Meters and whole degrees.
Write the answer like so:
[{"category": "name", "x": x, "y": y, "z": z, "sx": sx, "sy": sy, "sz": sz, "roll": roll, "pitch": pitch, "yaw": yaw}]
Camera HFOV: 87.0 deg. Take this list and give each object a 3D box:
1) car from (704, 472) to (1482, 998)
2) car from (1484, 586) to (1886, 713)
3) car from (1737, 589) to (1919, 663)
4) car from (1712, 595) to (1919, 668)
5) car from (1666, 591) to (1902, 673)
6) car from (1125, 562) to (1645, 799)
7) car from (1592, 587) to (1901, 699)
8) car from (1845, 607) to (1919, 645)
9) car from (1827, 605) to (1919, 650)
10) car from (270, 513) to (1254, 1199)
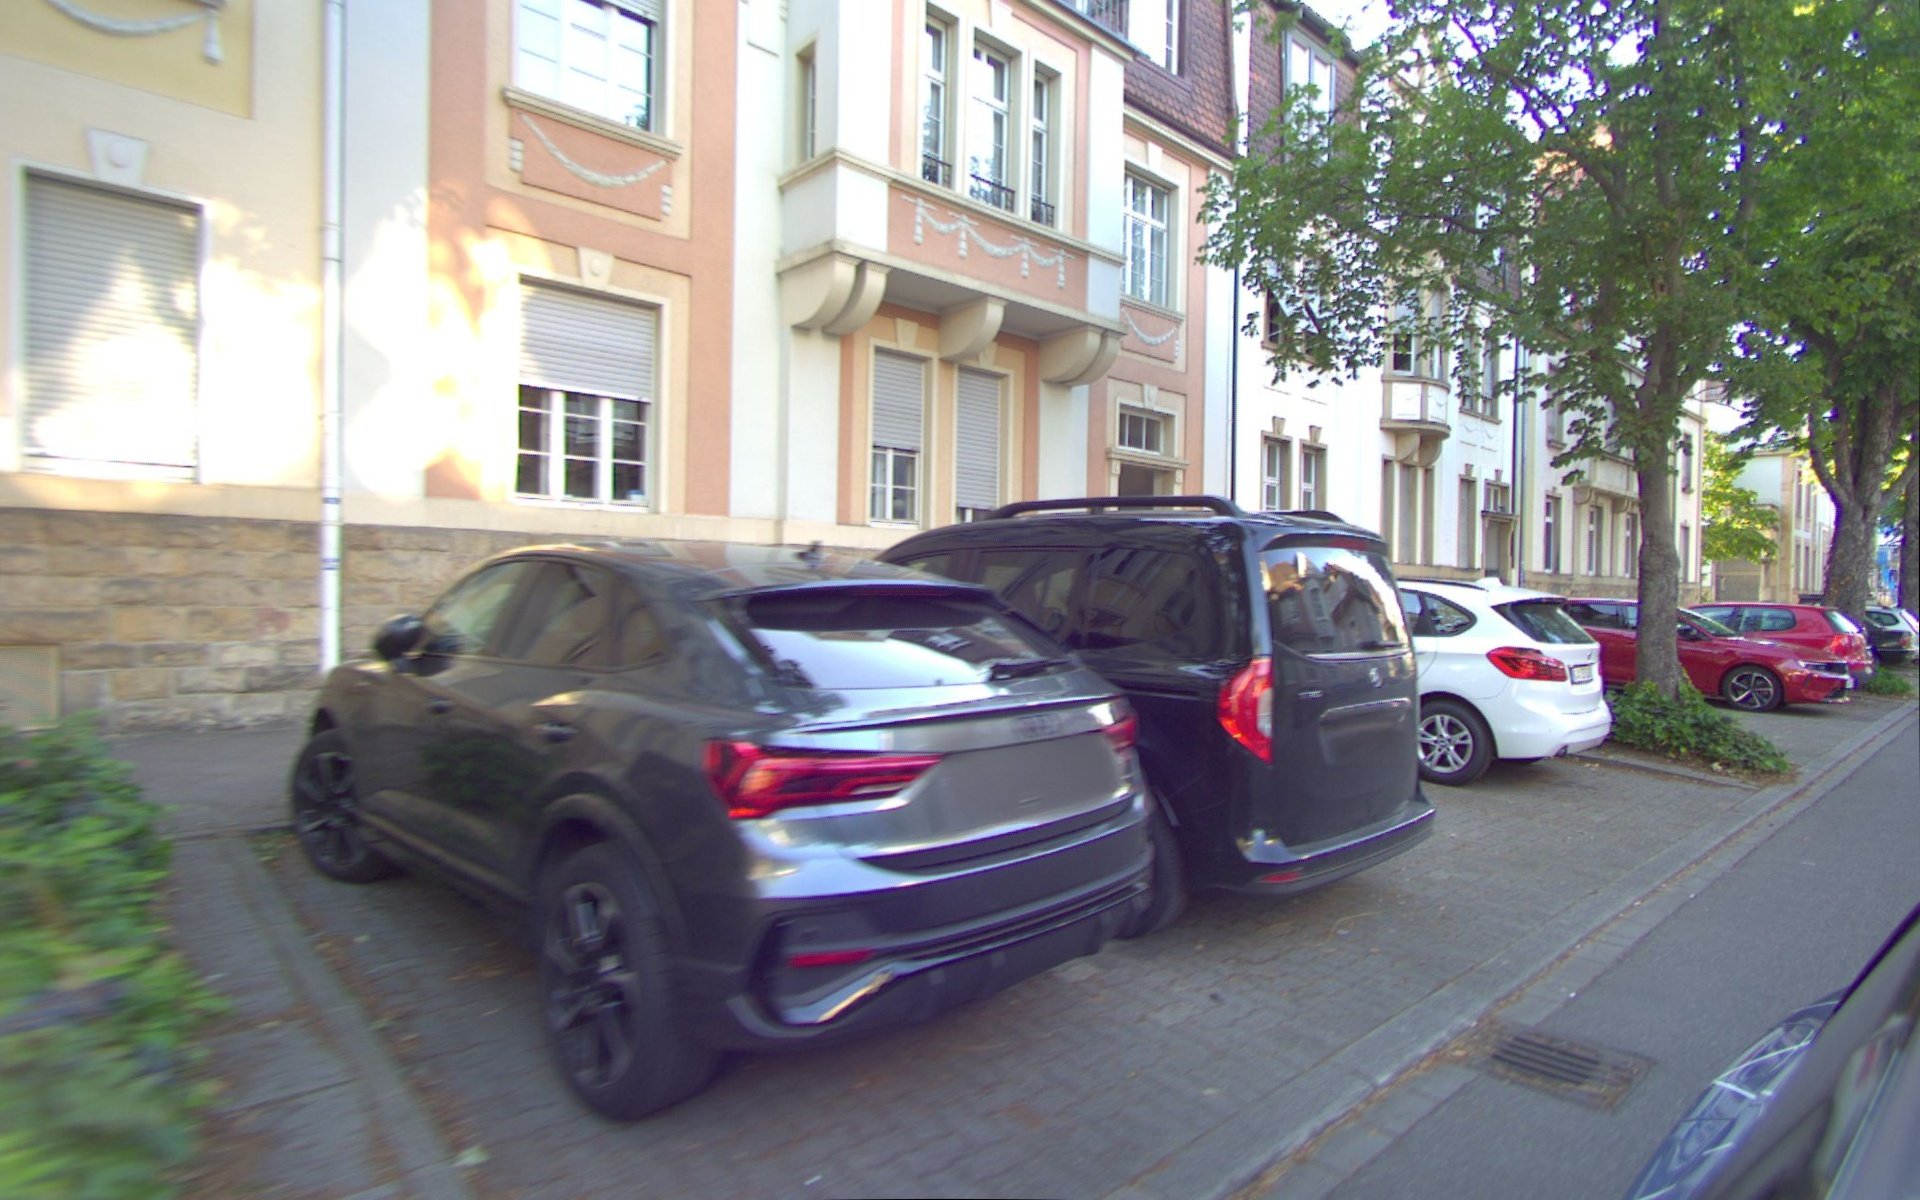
[{"category": "car", "x": 0.407, "y": 0.393, "z": 5.704, "sx": 1.814, "sy": 1.860, "sz": 4.115, "roll": 0, "pitch": 2, "yaw": -43}, {"category": "car", "x": 10.594, "y": 0.604, "z": 15.121, "sx": 1.834, "sy": 1.470, "sz": 4.532, "roll": 0, "pitch": 2, "yaw": -39}, {"category": "car", "x": 21.553, "y": 0.595, "z": 24.829, "sx": 1.548, "sy": 1.577, "sz": 3.680, "roll": 0, "pitch": 2, "yaw": -40}, {"category": "car", "x": 19.662, "y": 0.659, "z": 23.146, "sx": 1.548, "sy": 1.416, "sz": 3.680, "roll": 0, "pitch": 2, "yaw": -40}, {"category": "car", "x": 17.573, "y": 0.612, "z": 21.718, "sx": 1.548, "sy": 1.484, "sz": 3.680, "roll": 0, "pitch": 2, "yaw": -40}, {"category": "car", "x": 3.581, "y": 0.508, "z": 9.089, "sx": 1.689, "sy": 1.597, "sz": 3.947, "roll": 0, "pitch": 2, "yaw": -42}, {"category": "car", "x": 12.681, "y": 0.599, "z": 16.500, "sx": 1.628, "sy": 1.499, "sz": 3.681, "roll": 0, "pitch": 2, "yaw": -39}, {"category": "car", "x": 29.874, "y": 0.845, "z": 31.433, "sx": 1.515, "sy": 1.076, "sz": 3.399, "roll": 0, "pitch": 2, "yaw": -40}, {"category": "car", "x": 27.520, "y": 0.815, "z": 29.340, "sx": 1.515, "sy": 1.164, "sz": 3.399, "roll": 0, "pitch": 2, "yaw": -40}, {"category": "car", "x": -1.291, "y": 0.507, "z": 4.229, "sx": 4.512, "sy": 1.542, "sz": 1.815, "roll": 3, "pitch": 2, "yaw": 45}]
